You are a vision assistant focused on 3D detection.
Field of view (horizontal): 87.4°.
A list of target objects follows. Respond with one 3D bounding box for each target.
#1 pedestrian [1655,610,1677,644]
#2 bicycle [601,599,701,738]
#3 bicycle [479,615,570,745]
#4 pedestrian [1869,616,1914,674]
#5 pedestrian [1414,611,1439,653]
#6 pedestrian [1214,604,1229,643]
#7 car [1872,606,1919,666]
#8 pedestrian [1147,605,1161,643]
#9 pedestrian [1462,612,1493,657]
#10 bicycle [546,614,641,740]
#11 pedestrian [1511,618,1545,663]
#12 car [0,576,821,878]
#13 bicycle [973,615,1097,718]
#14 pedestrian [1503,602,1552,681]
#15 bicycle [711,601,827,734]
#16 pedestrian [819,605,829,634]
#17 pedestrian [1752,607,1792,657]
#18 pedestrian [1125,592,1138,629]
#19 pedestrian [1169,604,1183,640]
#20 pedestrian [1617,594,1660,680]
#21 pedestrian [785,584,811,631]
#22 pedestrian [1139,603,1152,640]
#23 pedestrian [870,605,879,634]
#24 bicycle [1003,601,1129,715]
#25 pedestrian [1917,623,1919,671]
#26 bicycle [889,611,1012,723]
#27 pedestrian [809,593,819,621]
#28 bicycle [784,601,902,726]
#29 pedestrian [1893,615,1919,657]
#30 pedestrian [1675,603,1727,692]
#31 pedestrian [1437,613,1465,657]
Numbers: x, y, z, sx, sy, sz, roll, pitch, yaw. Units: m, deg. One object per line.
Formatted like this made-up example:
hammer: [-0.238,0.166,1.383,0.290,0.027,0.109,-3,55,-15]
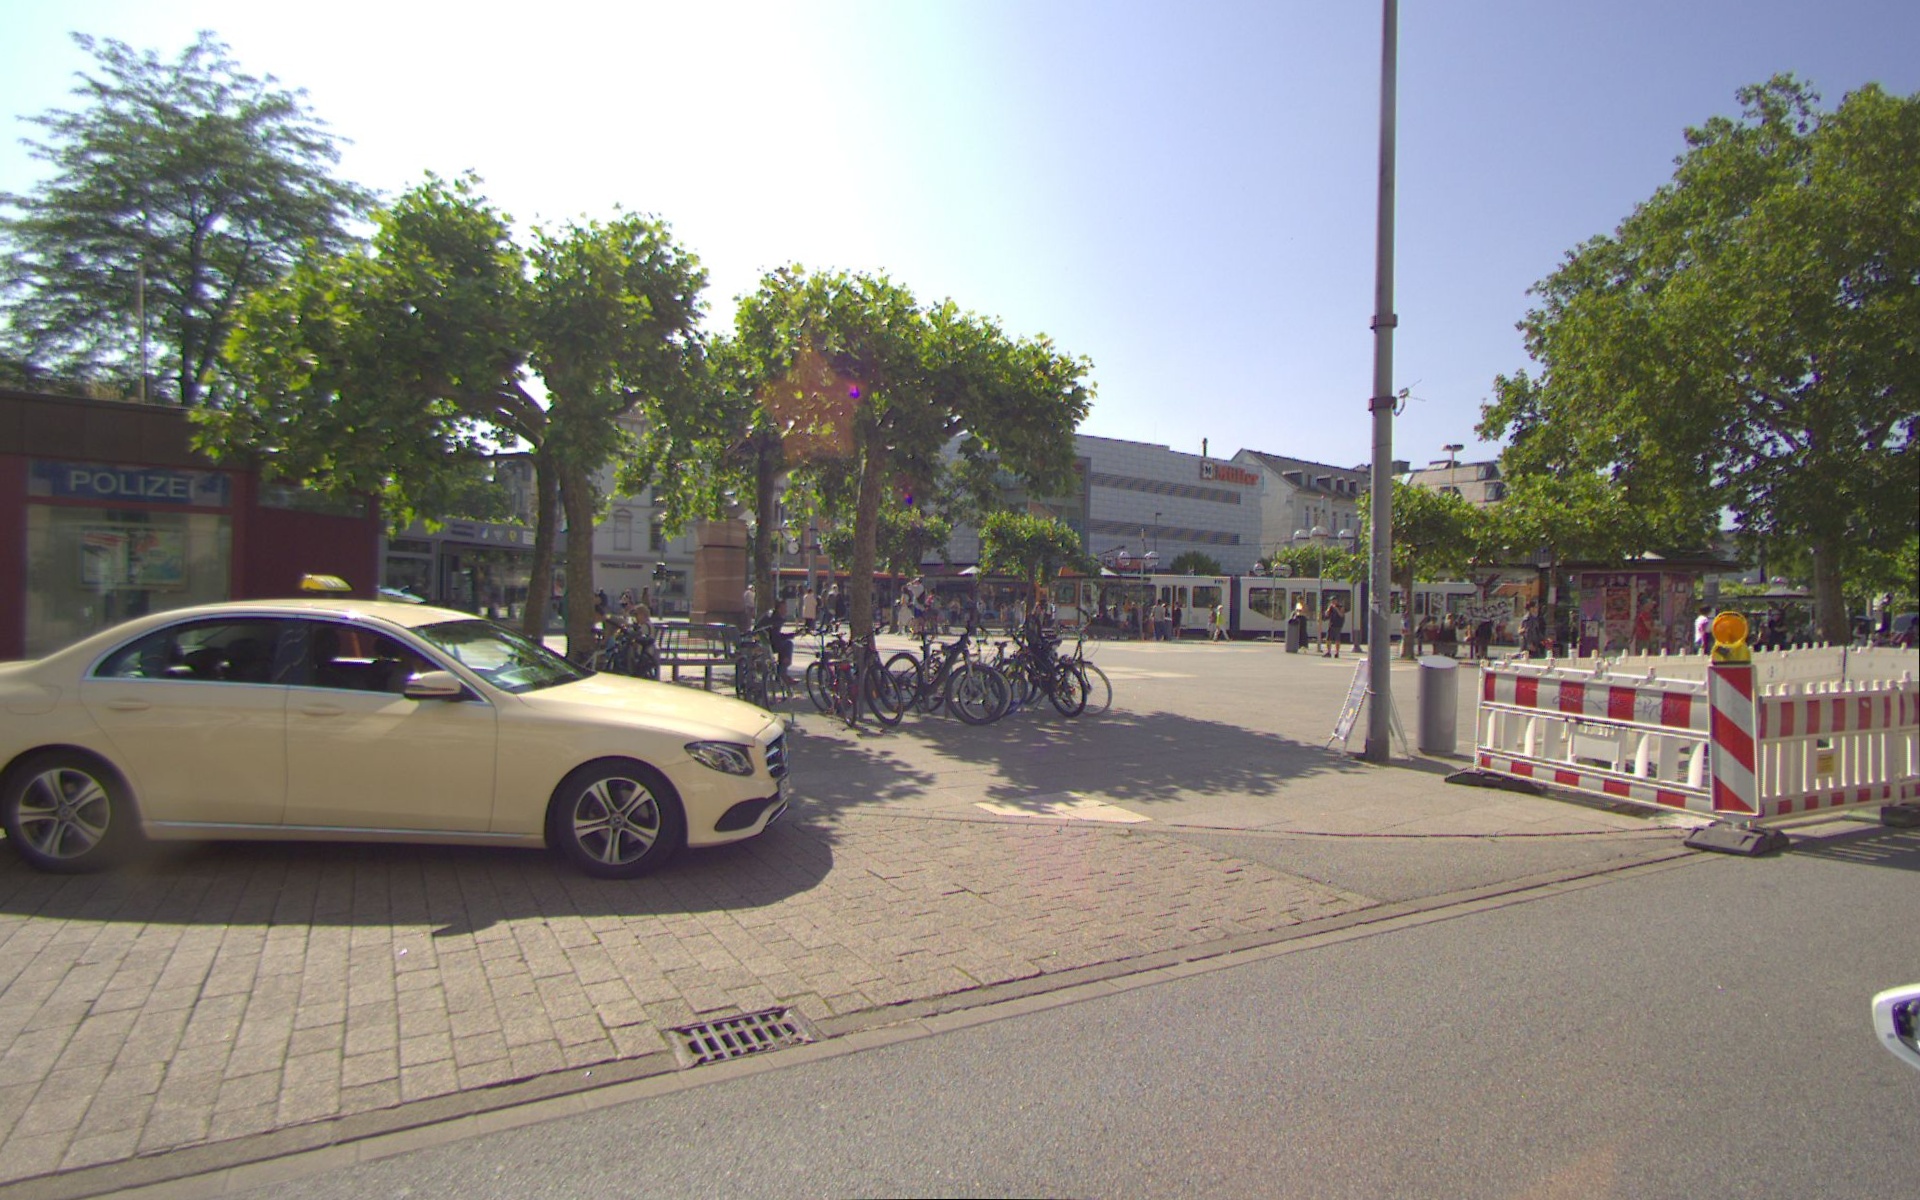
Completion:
pedestrian: [32.274,1.237,45.946,0.739,1.534,0.600,1,0,-37]
bicycle: [-3.302,0.666,10.648,0.556,1.326,1.771,1,1,-32]
bicycle: [-4.354,0.737,9.978,0.556,1.120,1.771,1,1,-32]
pedestrian: [26.169,1.248,28.224,0.653,1.586,0.633,2,0,-9]
pedestrian: [14.700,1.008,31.670,0.600,1.279,0.611,1,0,16]
pedestrian: [12.148,1.073,46.682,0.594,1.773,0.747,1,0,9]
car: [33.732,1.257,33.881,4.674,1.981,1.862,2,0,-9]
pedestrian: [9.294,1.138,48.076,0.594,1.773,0.747,1,0,9]
pedestrian: [15.162,1.015,29.455,0.599,1.279,0.613,1,0,6]
bicycle: [-3.843,0.748,10.459,0.556,1.147,1.771,1,1,-32]
pedestrian: [16.601,1.189,29.363,0.599,1.279,0.612,1,0,-4]
car: [-3.374,0.686,6.269,4.767,1.562,1.897,1,0,-3]
bicycle: [0.934,0.815,12.999,0.656,1.201,1.771,1,1,-32]
pedestrian: [11.475,0.837,20.319,0.598,1.553,0.574,2,1,-24]
bicycle: [-2.166,0.699,11.224,0.656,1.326,1.771,1,1,-32]
pedestrian: [-8.039,1.147,59.273,0.435,1.695,0.450,1,0,5]
pedestrian: [25.159,0.993,31.132,0.717,1.498,0.633,2,0,-9]
pedestrian: [8.389,0.524,49.103,0.594,1.773,0.747,1,0,9]
pedestrian: [10.608,1.079,49.405,0.594,1.773,0.747,1,0,9]
pedestrian: [15.583,0.833,23.092,0.651,1.905,0.631,3,1,26]
pedestrian: [-6.016,0.274,37.245,0.600,1.688,0.796,1,1,-35]
pedestrian: [9.124,1.058,49.414,0.594,1.773,0.747,1,0,9]
pedestrian: [-5.025,1.117,58.811,0.435,1.695,0.450,1,0,5]
bicycle: [1.405,0.739,13.626,0.733,1.366,1.771,1,2,-32]
pedestrian: [28.902,1.405,29.721,0.659,1.404,0.725,1,0,-37]
bicycle: [-0.150,0.774,12.315,0.656,1.231,1.771,1,1,-32]
pedestrian: [-8.860,0.438,60.949,0.435,1.695,0.450,1,0,5]
bicycle: [-1.406,0.690,11.754,0.656,1.326,1.771,1,1,-32]
pedestrian: [26.870,1.019,28.243,0.653,1.159,0.633,2,0,-9]
pedestrian: [15.100,0.966,20.469,0.598,1.762,0.574,2,1,-24]
pedestrian: [14.753,1.047,30.176,0.602,1.279,0.610,1,0,38]
